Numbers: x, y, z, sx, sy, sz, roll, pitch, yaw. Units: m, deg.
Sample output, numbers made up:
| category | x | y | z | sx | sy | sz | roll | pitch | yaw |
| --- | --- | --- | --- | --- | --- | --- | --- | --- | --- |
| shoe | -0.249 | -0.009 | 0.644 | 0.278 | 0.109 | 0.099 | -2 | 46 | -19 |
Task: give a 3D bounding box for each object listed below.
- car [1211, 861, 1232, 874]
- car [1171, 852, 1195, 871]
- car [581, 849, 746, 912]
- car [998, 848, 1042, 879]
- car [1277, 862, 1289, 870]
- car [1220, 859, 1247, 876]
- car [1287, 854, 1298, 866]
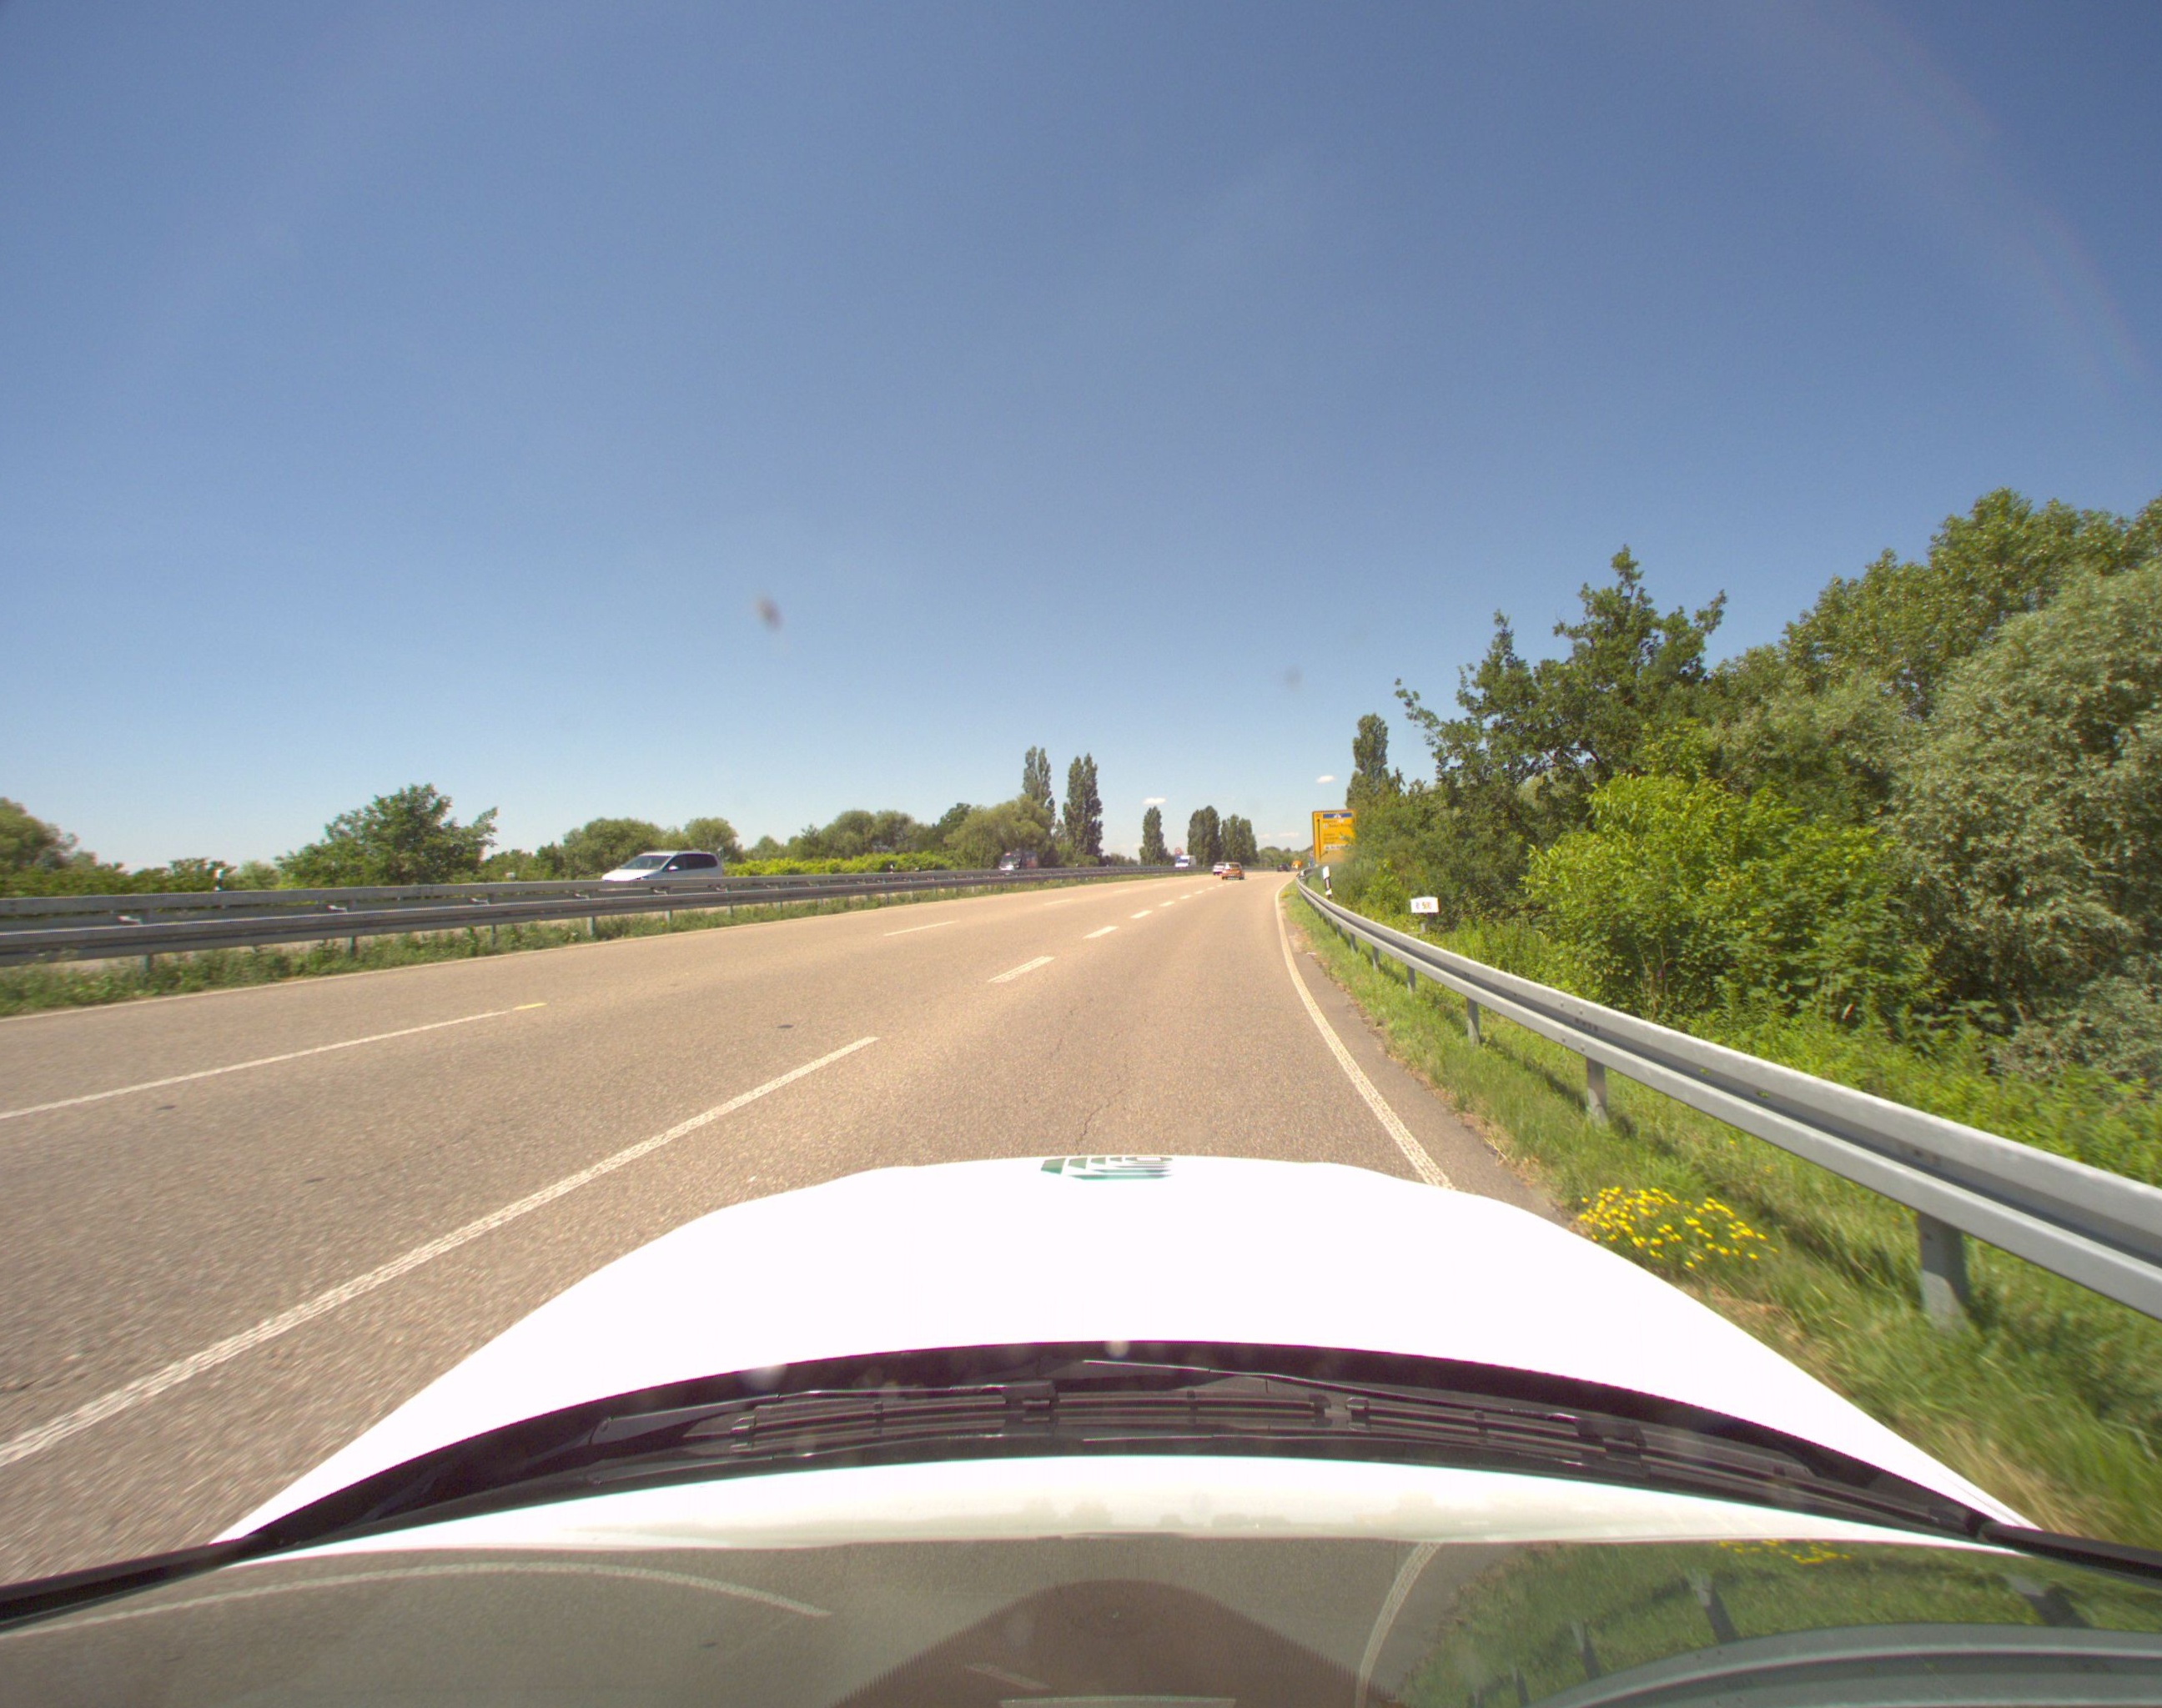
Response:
| category | x | y | z | sx | sy | sz | roll | pitch | yaw |
| --- | --- | --- | --- | --- | --- | --- | --- | --- | --- |
| car | 16.359 | 1.563 | 94.525 | 1.827 | 1.451 | 4.018 | 0 | 0 | 18 |
| car | 15.690 | 1.209 | 124.660 | 2.261 | 2.774 | 7.254 | -1 | -2 | 18 |
| car | -13.606 | 0.871 | 26.969 | 2.189 | 1.893 | 4.928 | -1 | -2 | 12 |
| car | -5.330 | 0.918 | 72.022 | 2.188 | 2.638 | 5.646 | -1 | -2 | 14 |
| car | 37.646 | 2.246 | 151.377 | 1.928 | 1.464 | 4.018 | 0 | 0 | 17 |
| car | 13.294 | 1.163 | 70.781 | 1.827 | 1.464 | 4.018 | 0 | 0 | 17 |
| car | 59.279 | 1.830 | 228.176 | 2.286 | 3.292 | 7.064 | -1 | -1 | 21 |
